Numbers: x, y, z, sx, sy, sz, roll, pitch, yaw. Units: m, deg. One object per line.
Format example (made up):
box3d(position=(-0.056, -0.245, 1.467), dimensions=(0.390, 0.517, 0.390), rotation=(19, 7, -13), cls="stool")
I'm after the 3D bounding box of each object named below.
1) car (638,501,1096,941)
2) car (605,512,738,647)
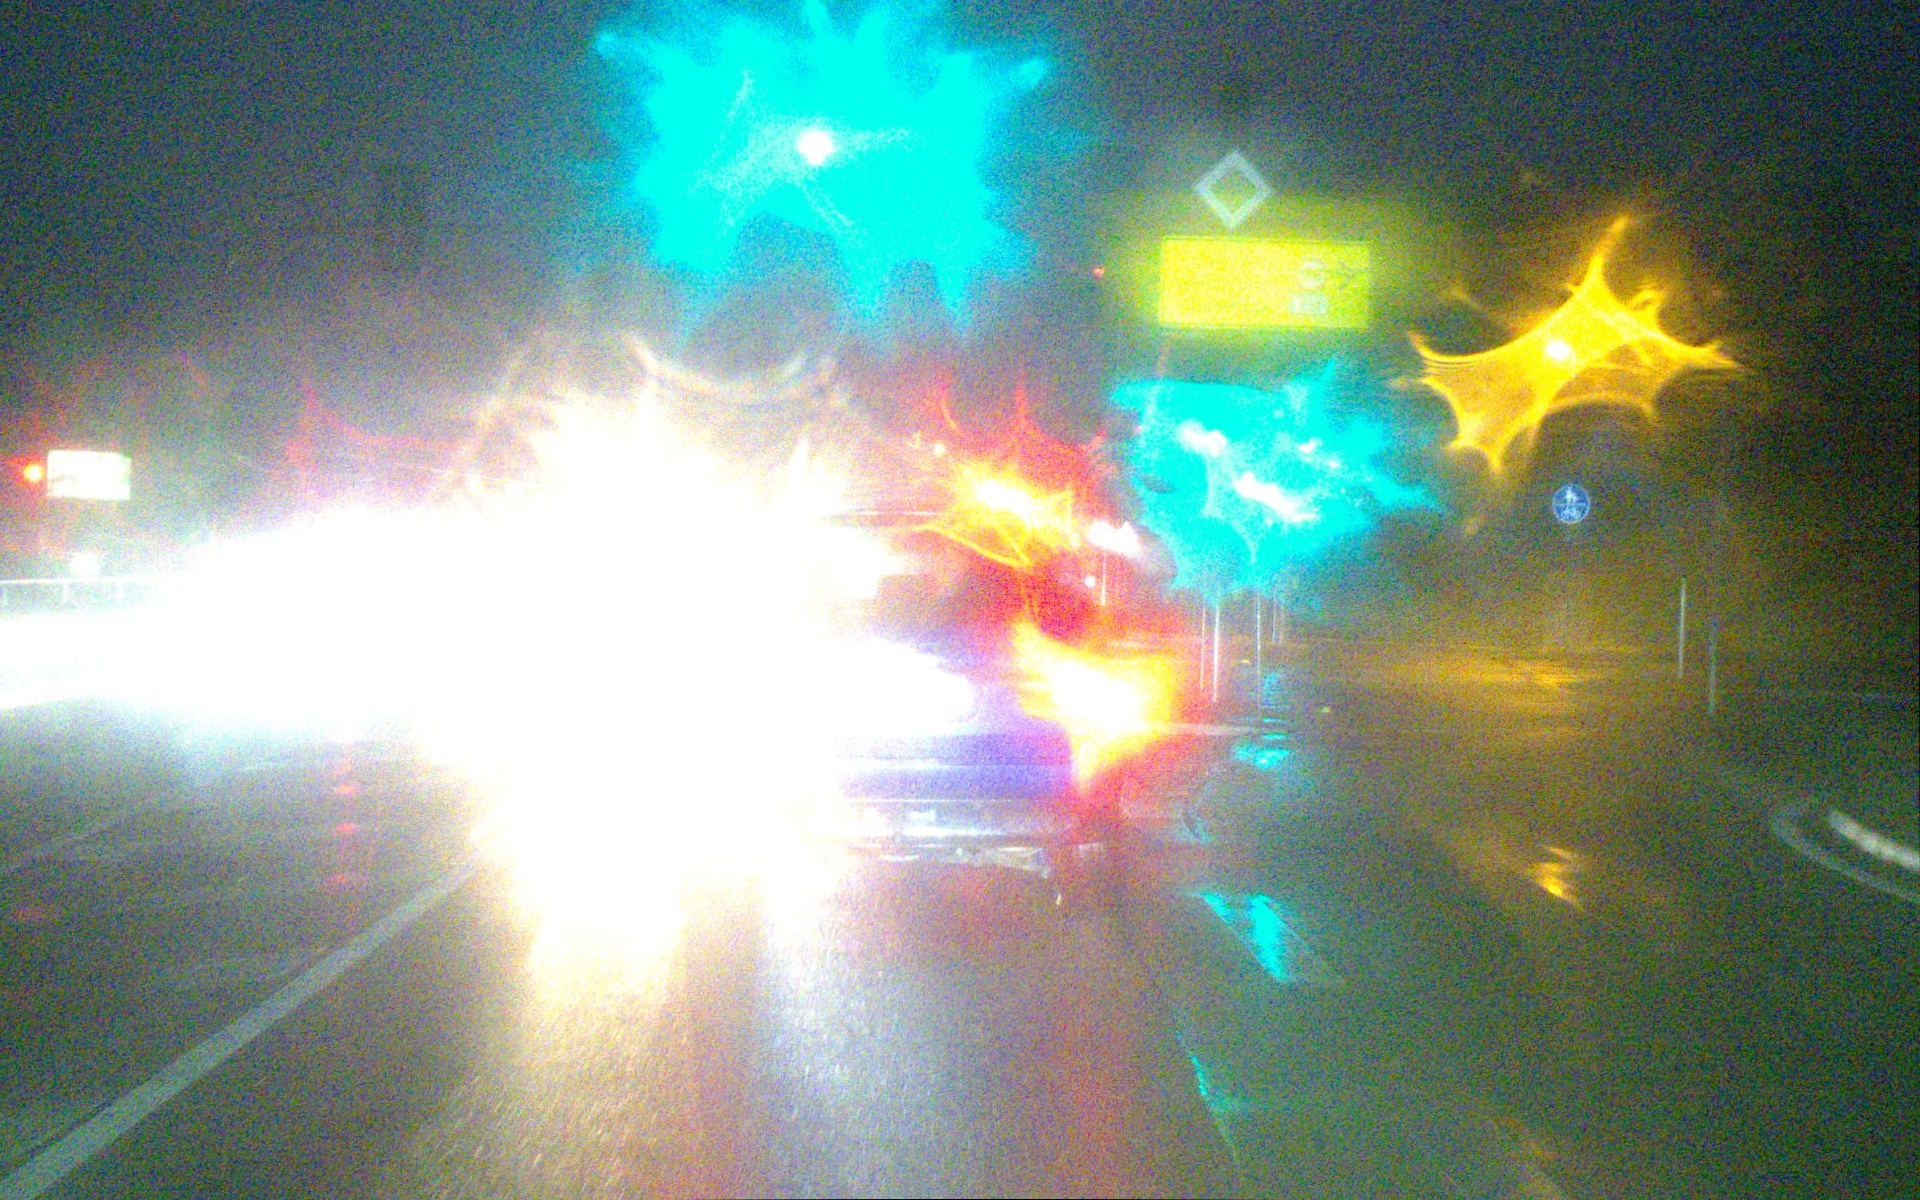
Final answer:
box3d(position=(-0.442, 0.448, 15.423), dimensions=(1.775, 1.706, 4.000), rotation=(0, 1, -2), cls="car")
box3d(position=(-4.607, -0.284, 54.682), dimensions=(1.993, 2.007, 4.000), rotation=(-1, -1, -5), cls="car")
